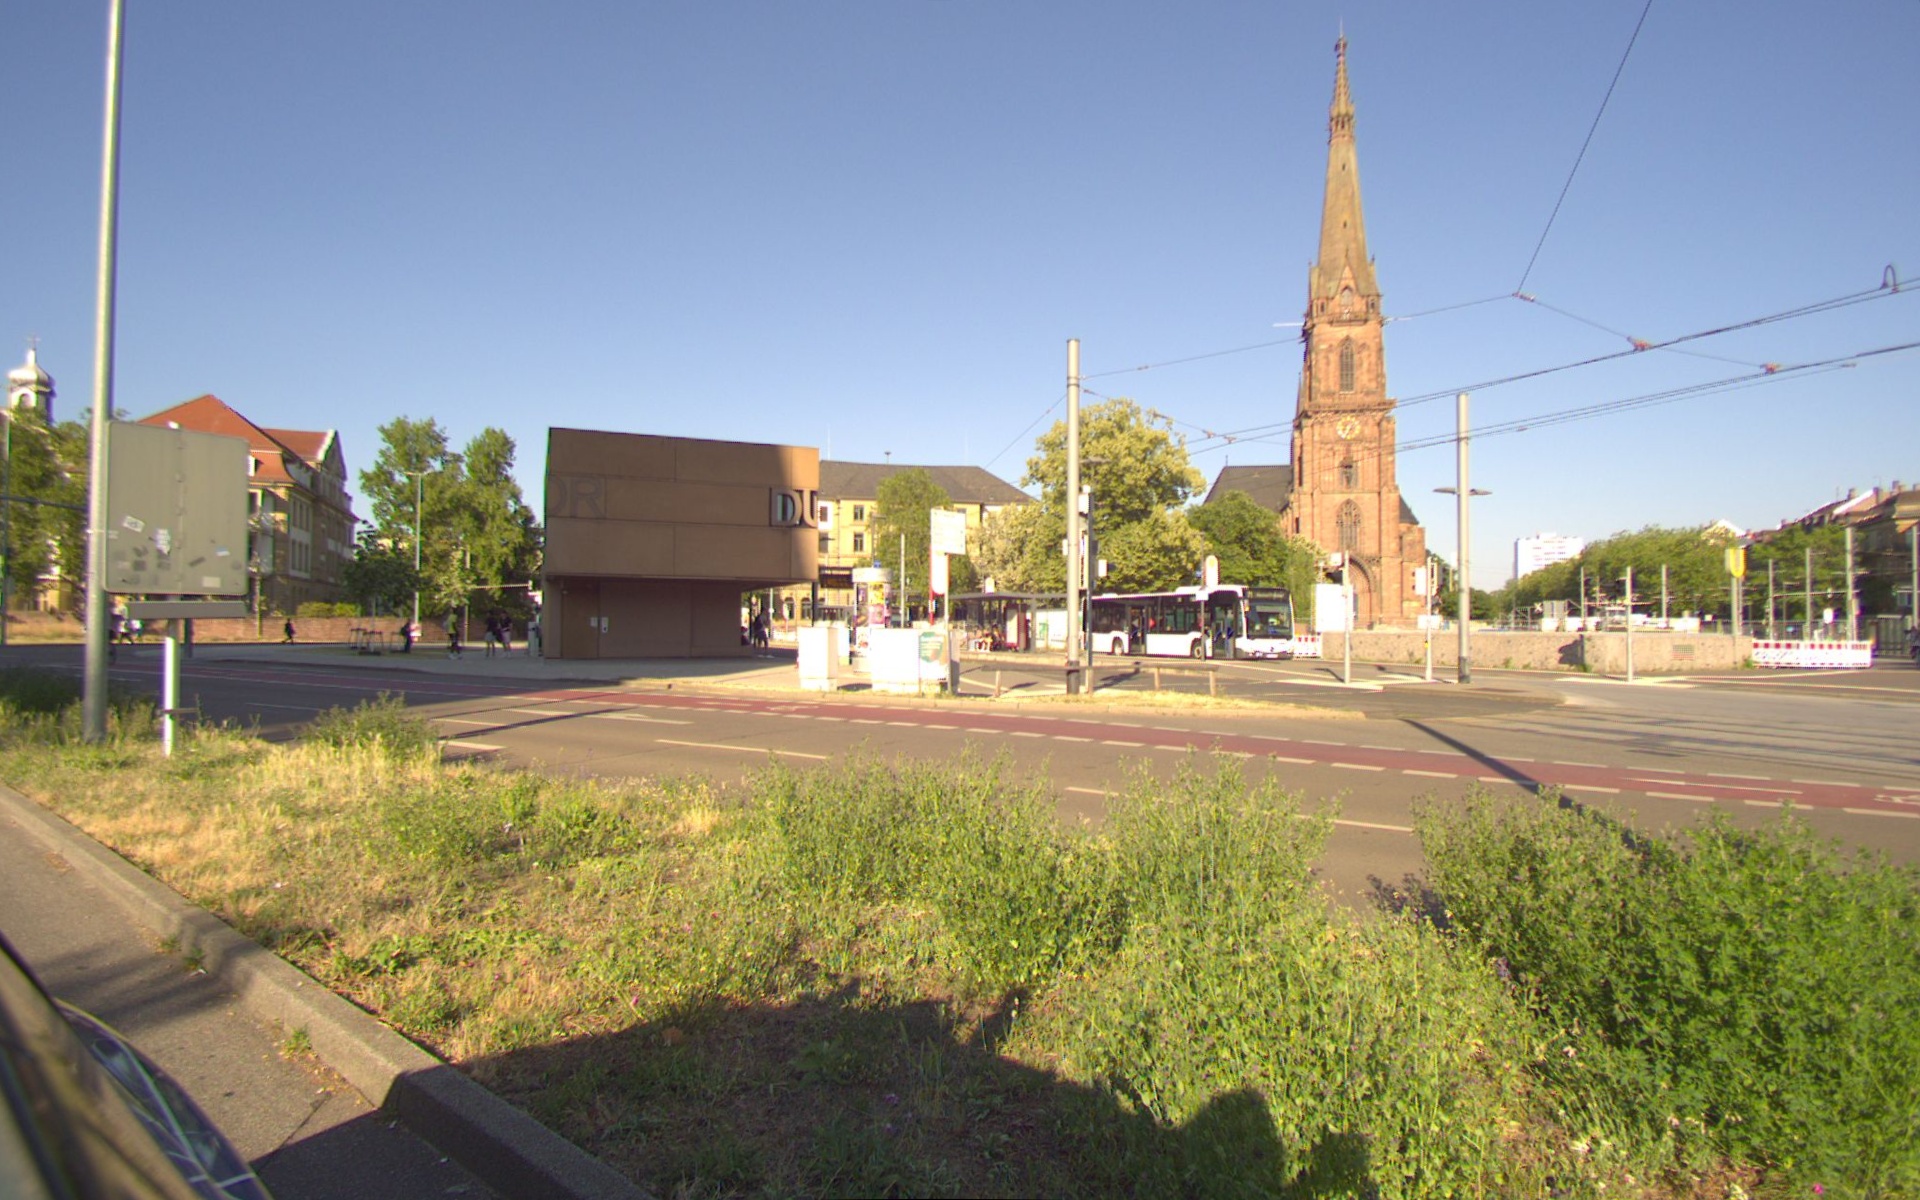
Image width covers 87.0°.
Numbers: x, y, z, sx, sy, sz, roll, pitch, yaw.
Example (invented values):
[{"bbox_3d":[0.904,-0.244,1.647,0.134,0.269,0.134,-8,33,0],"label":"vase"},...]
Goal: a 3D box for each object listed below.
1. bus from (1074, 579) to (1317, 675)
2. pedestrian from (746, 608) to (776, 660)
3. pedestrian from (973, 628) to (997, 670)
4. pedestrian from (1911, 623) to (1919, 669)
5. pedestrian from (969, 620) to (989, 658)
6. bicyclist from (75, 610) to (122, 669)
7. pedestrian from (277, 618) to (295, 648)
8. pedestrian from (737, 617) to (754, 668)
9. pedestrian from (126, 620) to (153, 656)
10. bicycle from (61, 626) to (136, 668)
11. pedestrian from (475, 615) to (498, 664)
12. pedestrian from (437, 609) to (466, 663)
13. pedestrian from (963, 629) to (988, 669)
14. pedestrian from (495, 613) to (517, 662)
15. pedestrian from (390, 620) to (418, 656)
[{"bbox_3d":[9.306,0.935,42.601,3.194,3.342,12.229,4,-1,-23],"label":"bus"},{"bbox_3d":[-7.653,1.317,38.956,0.964,1.997,0.721,1,-3,-23],"label":"pedestrian"},{"bbox_3d":[1.220,2.394,49.226,0.964,1.997,0.721,1,-3,-21],"label":"pedestrian"},{"bbox_3d":[37.458,1.774,39.231,0.727,1.791,0.785,-1,-2,37],"label":"pedestrian"},{"bbox_3d":[0.999,2.081,53.719,0.802,1.997,0.757,1,-3,-21],"label":"pedestrian"},{"bbox_3d":[-27.274,1.235,32.053,1.007,1.846,0.737,0,-1,22],"label":"bicyclist"},{"bbox_3d":[-39.257,1.924,58.967,0.780,1.665,0.715,3,0,-33],"label":"pedestrian"},{"bbox_3d":[-8.726,1.714,41.158,0.604,2.029,0.809,-1,-2,-13],"label":"pedestrian"},{"bbox_3d":[-45.562,2.109,56.198,0.710,1.908,0.864,3,0,28],"label":"pedestrian"},{"bbox_3d":[-27.307,1.464,32.068,2.539,1.265,0.736,0,-1,23],"label":"bicycle"},{"bbox_3d":[-16.705,1.407,35.714,0.629,1.702,0.551,0,-3,-36],"label":"pedestrian"},{"bbox_3d":[-17.783,1.269,35.396,0.639,1.849,0.709,-4,-3,41],"label":"pedestrian"},{"bbox_3d":[0.781,2.467,50.942,0.979,1.997,0.831,1,-3,-21],"label":"pedestrian"},{"bbox_3d":[-16.607,1.379,37.011,0.723,1.744,0.667,-1,-2,-24],"label":"pedestrian"},{"bbox_3d":[-26.716,1.820,48.651,0.745,1.697,0.890,-1,-2,30],"label":"pedestrian"}]
